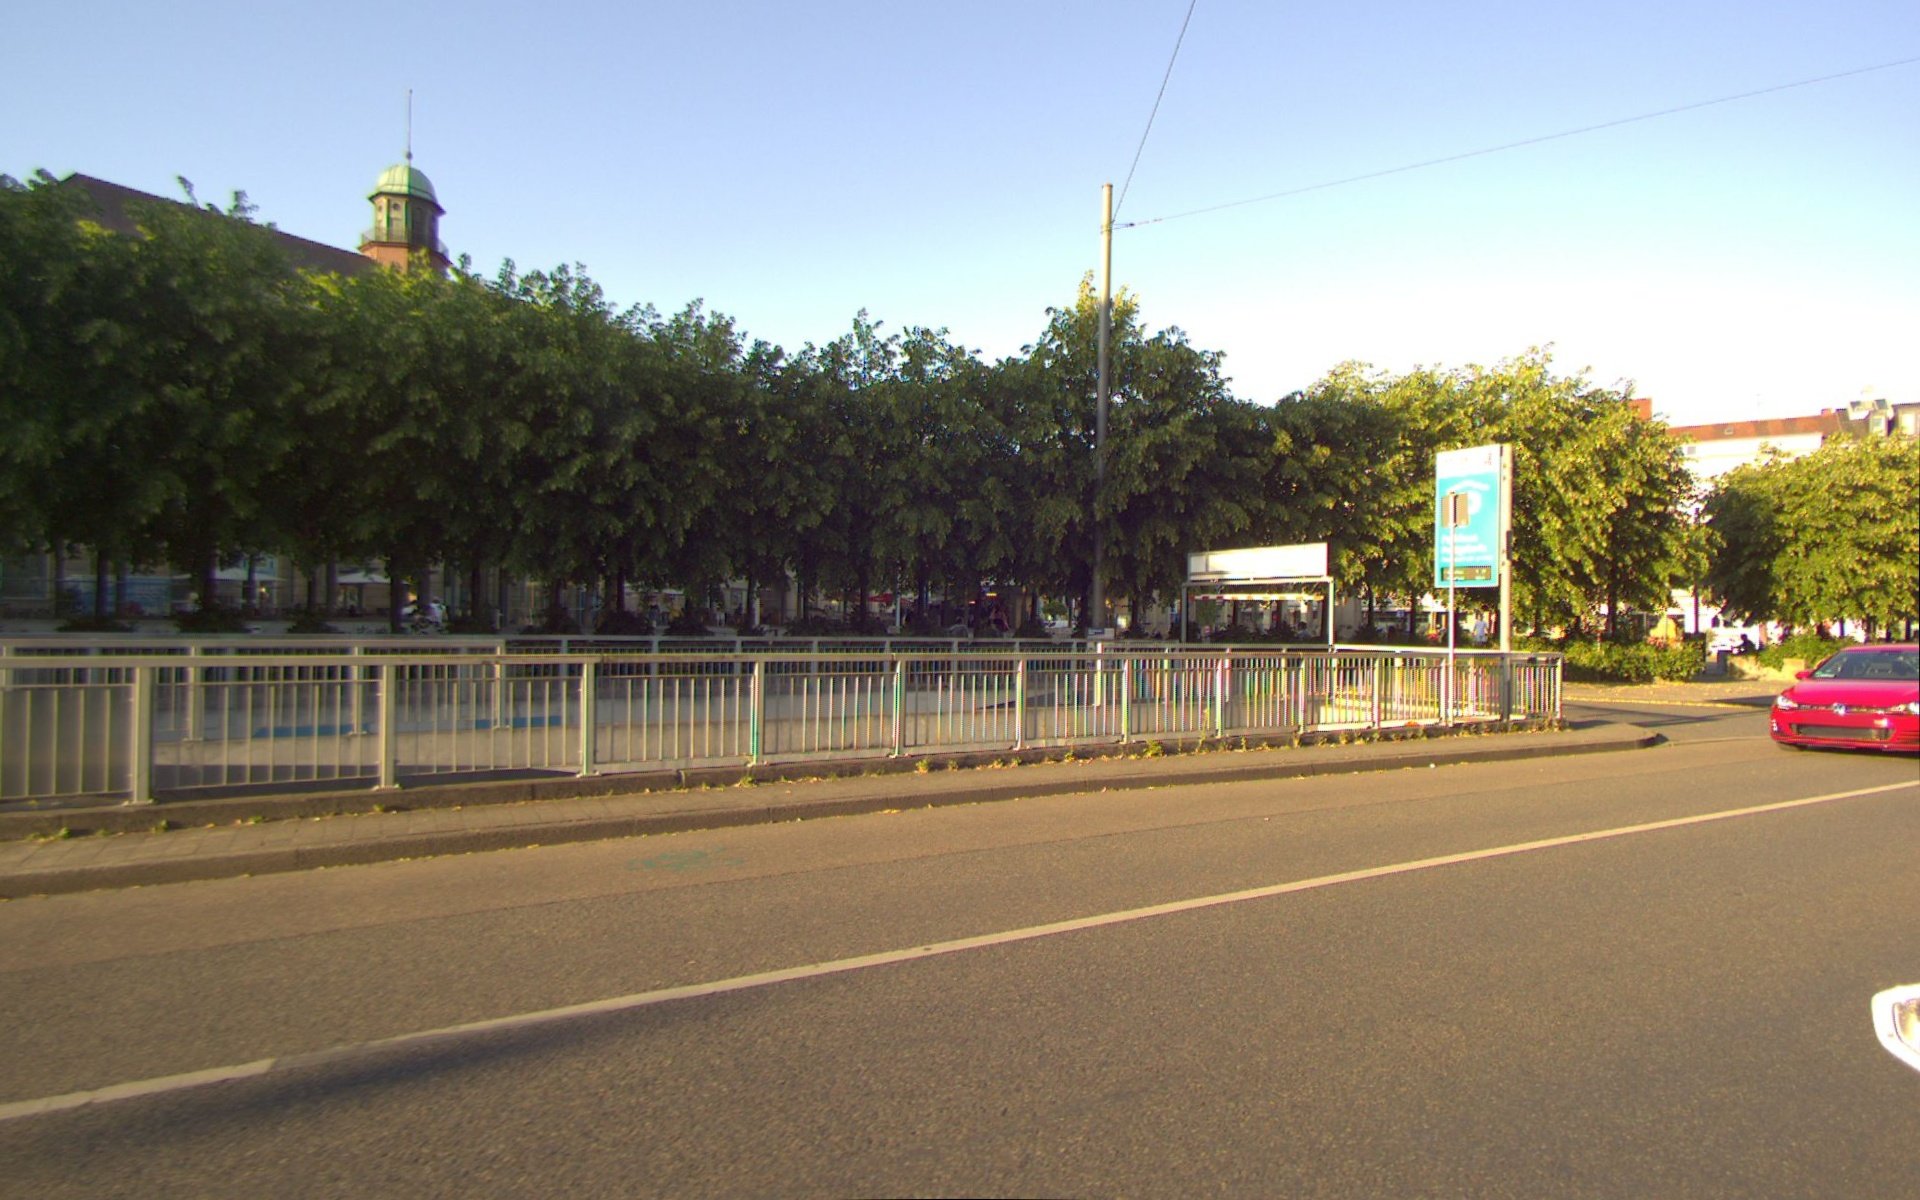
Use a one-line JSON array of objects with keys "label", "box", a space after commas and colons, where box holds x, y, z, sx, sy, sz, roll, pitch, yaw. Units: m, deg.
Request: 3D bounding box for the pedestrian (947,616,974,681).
[{"label": "pedestrian", "box": [0.006, 1.224, 25.402, 0.558, 1.616, 0.678, 1, 0, -10]}]

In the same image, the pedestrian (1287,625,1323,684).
[{"label": "pedestrian", "box": [9.577, 1.502, 27.881, 0.665, 1.616, 0.678, 1, 0, -10]}]

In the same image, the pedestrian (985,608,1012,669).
[{"label": "pedestrian", "box": [1.050, 1.042, 27.280, 0.558, 1.616, 0.791, 1, 0, -10]}]

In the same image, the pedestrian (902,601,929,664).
[{"label": "pedestrian", "box": [-1.159, 0.831, 26.122, 0.558, 1.616, 0.791, 1, 0, -10]}]

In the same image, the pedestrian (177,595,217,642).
[{"label": "pedestrian", "box": [-21.628, 0.516, 28.474, 0.778, 1.296, 0.652, 0, -3, 35]}]

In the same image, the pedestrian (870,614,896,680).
[{"label": "pedestrian", "box": [-1.914, 1.158, 24.888, 0.558, 1.616, 0.678, 1, 0, -10]}]

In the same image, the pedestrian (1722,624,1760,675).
[{"label": "pedestrian", "box": [25.322, 1.592, 32.584, 0.558, 1.616, 0.791, 1, 0, -10]}]

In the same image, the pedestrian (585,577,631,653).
[{"label": "pedestrian", "box": [-7.649, 0.327, 21.843, 0.693, 1.616, 0.673, 1, 0, 42]}]

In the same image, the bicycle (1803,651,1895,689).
[{"label": "bicycle", "box": [24.388, 1.904, 27.591, 0.479, 0.864, 1.814, 1, 2, -33]}]

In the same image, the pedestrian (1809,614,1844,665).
[{"label": "pedestrian", "box": [27.935, 1.254, 32.389, 0.478, 1.616, 0.683, 1, 0, -10]}]

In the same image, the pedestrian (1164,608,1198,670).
[{"label": "pedestrian", "box": [5.872, 1.027, 26.720, 0.665, 1.616, 0.678, 1, 0, -10]}]

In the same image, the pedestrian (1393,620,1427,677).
[{"label": "pedestrian", "box": [13.186, 1.411, 29.434, 0.558, 1.616, 0.791, 1, 0, -10]}]

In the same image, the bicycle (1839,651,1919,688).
[{"label": "bicycle", "box": [26.030, 1.956, 28.300, 0.479, 0.864, 1.814, 1, 2, -33]}]

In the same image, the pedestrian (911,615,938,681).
[{"label": "pedestrian", "box": [-0.894, 1.192, 25.246, 0.558, 1.616, 0.678, 1, 0, -10]}]

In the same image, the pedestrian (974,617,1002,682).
[{"label": "pedestrian", "box": [0.711, 1.251, 25.420, 0.558, 1.616, 0.678, 1, 0, -10]}]

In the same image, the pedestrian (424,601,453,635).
[{"label": "pedestrian", "box": [-17.454, 0.604, 33.631, 0.703, 1.134, 0.609, 1, 0, 35]}]

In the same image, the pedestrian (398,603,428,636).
[{"label": "pedestrian", "box": [-17.987, 0.631, 33.054, 0.703, 1.073, 0.609, 1, 0, 35]}]

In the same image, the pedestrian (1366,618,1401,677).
[{"label": "pedestrian", "box": [11.894, 1.329, 28.212, 0.558, 1.616, 0.791, 1, 0, -10]}]

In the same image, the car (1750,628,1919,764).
[{"label": "car", "box": [12.377, 1.190, 13.296, 3.905, 1.572, 1.684, 1, -3, -31]}]

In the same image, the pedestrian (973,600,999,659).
[{"label": "pedestrian", "box": [0.712, 0.819, 28.060, 0.558, 1.616, 0.791, 1, 0, -10]}]

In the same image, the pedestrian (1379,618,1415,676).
[{"label": "pedestrian", "box": [12.462, 1.343, 28.663, 0.558, 1.616, 0.791, 1, 0, -10]}]
